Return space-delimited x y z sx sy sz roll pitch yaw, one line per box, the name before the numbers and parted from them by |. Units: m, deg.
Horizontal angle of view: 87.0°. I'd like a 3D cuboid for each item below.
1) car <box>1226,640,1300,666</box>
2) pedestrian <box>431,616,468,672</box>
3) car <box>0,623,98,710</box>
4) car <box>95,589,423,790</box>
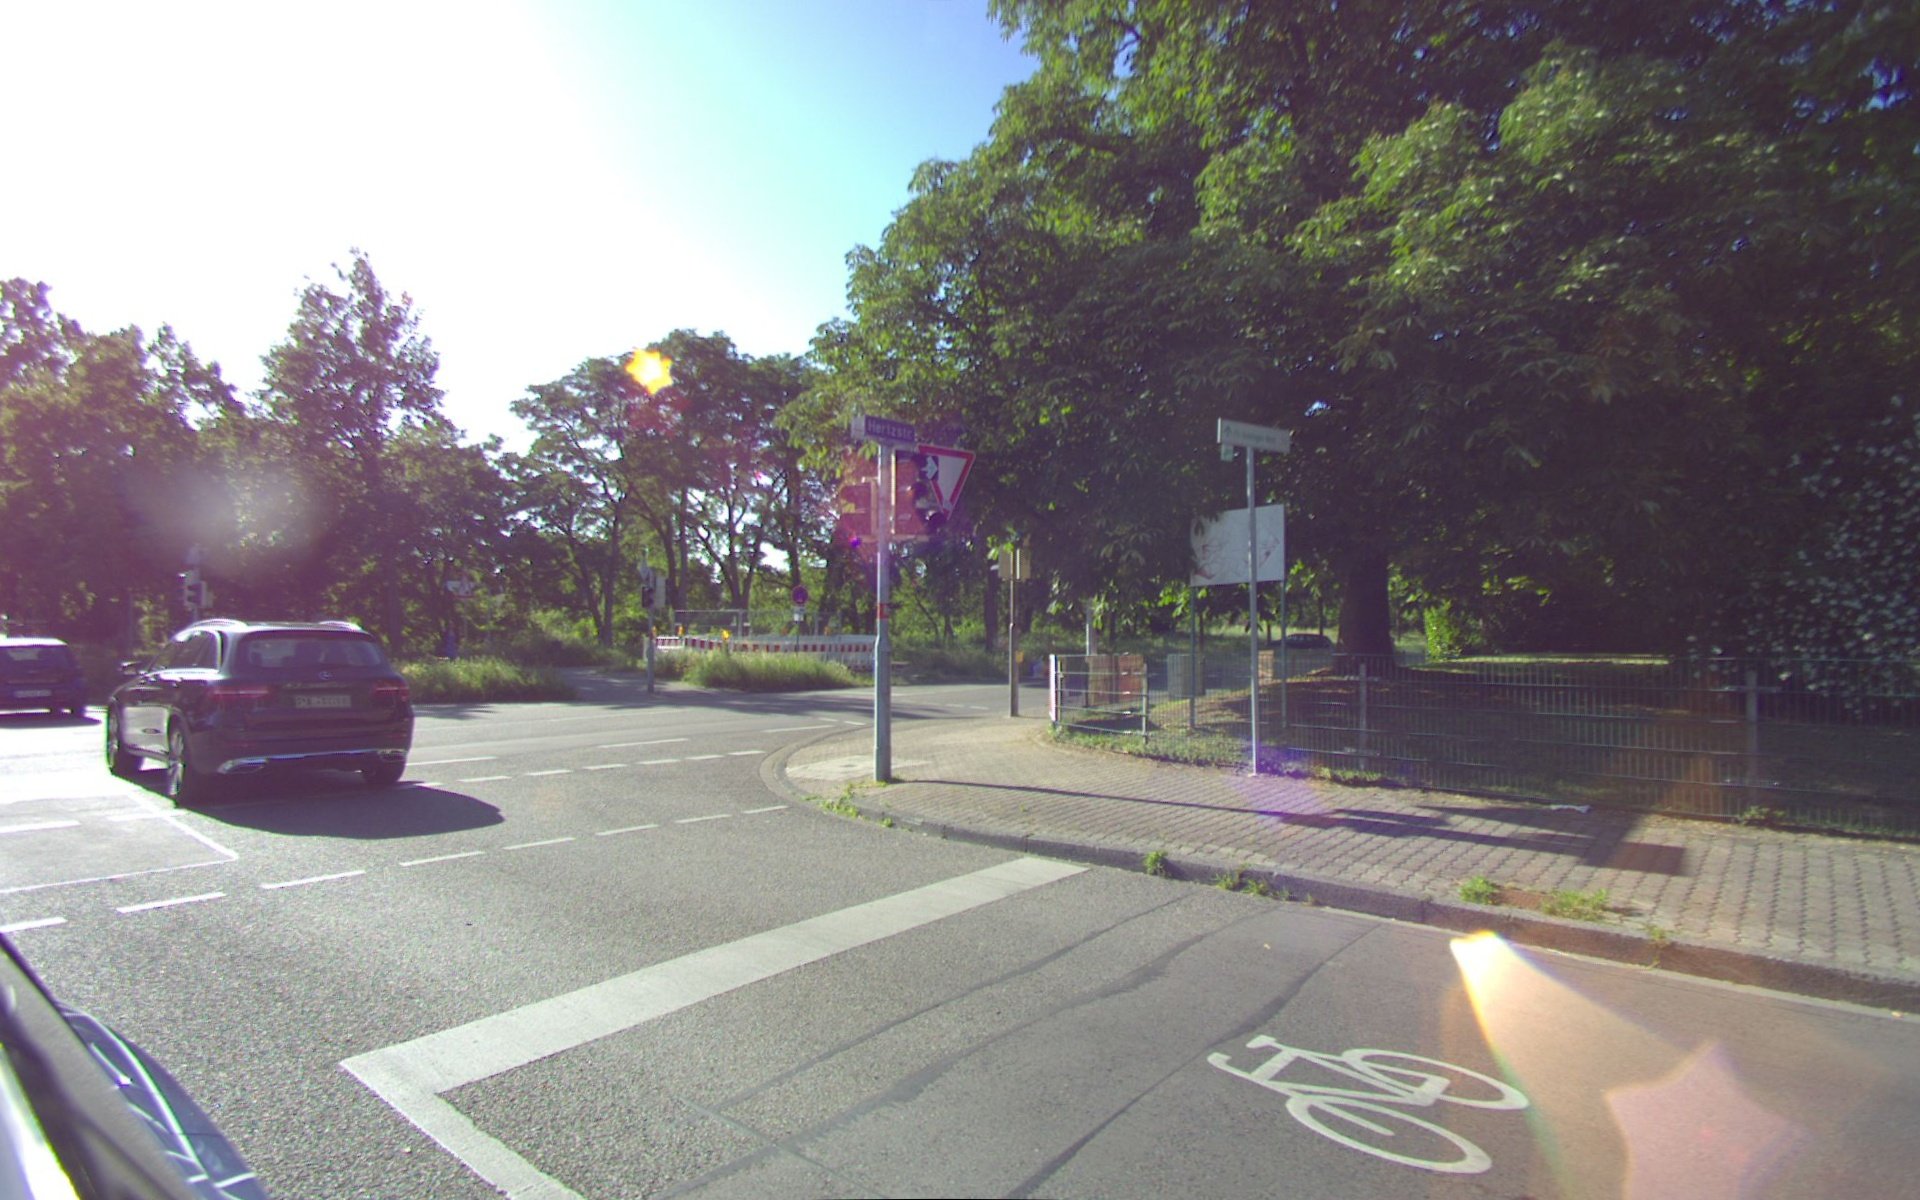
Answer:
car | 18.337 3.184 61.350 3.997 1.432 1.620 -2 0 40
pedestrian | -15.543 1.332 30.798 0.647 1.646 0.790 -2 -1 42
car | -18.015 1.205 19.325 3.848 1.466 1.787 0 -2 41
car | -7.337 0.808 10.414 4.391 1.630 1.795 -2 -3 42
